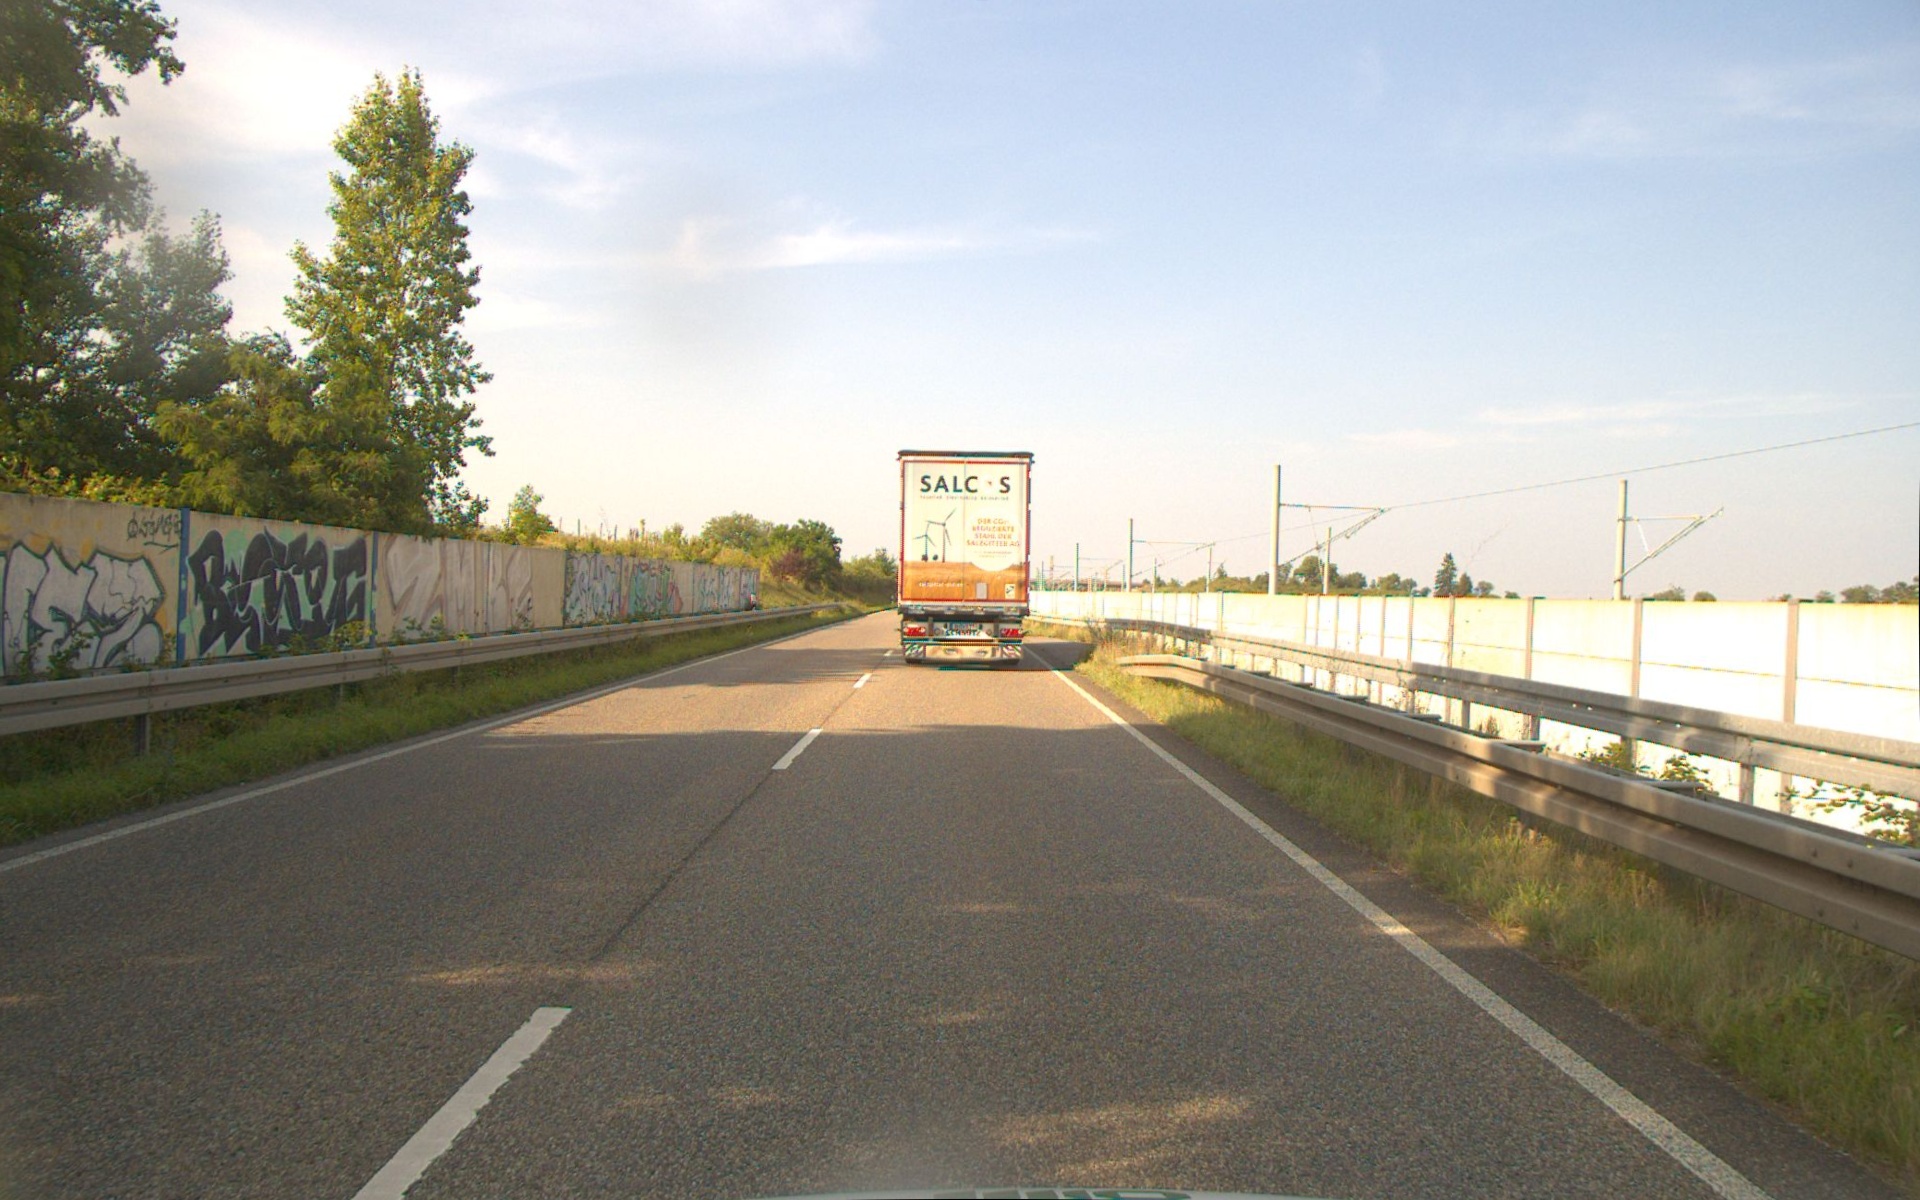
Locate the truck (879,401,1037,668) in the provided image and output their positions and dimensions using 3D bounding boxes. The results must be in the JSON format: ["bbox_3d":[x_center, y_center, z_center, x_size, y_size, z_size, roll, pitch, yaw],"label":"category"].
[{"bbox_3d":[-0.160,-1.313,36.947,2.971,5.006,11.682,0,1,-1],"label":"truck"}]
